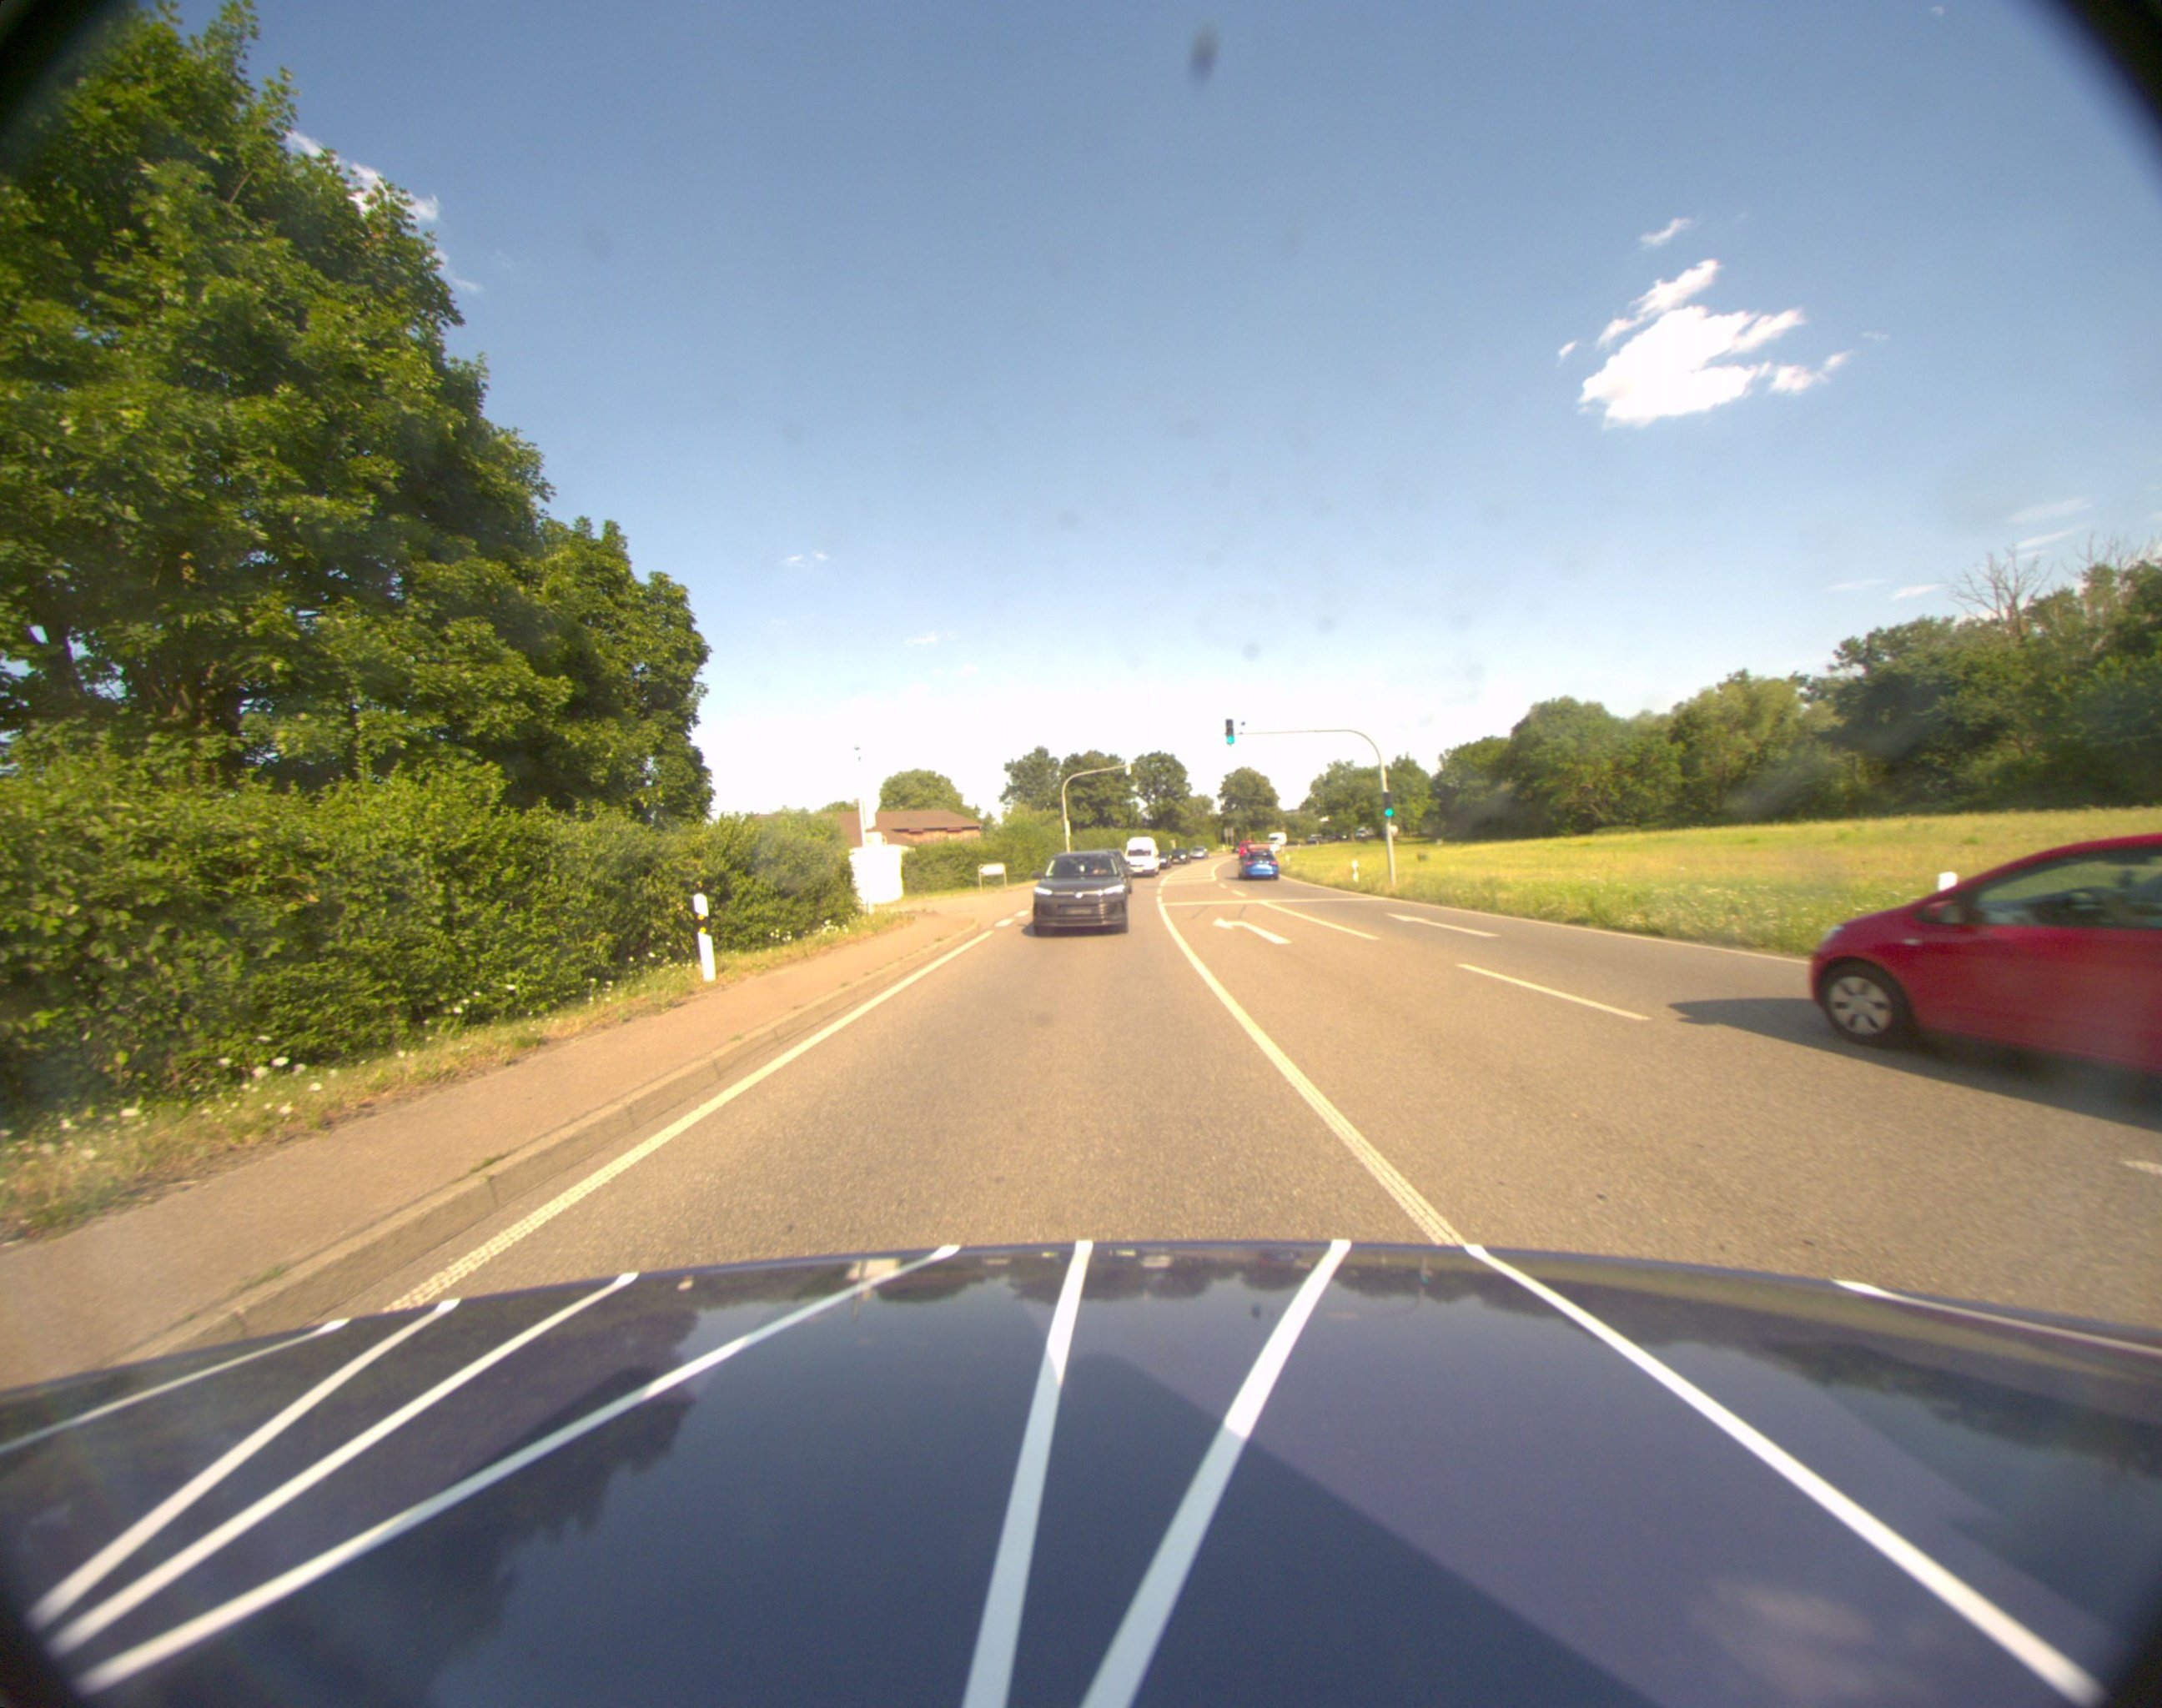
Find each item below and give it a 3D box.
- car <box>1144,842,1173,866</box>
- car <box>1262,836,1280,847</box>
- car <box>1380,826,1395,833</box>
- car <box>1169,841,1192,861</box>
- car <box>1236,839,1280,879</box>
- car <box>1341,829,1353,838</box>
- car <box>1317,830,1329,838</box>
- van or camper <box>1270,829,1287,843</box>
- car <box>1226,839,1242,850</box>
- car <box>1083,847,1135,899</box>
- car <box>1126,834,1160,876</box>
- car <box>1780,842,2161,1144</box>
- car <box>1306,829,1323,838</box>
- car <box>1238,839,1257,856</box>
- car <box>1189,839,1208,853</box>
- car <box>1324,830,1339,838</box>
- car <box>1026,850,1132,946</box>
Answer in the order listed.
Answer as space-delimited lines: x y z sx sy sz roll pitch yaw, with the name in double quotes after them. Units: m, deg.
6.014 0.001 58.585 1.692 1.718 3.671 -1 1 13 "car"
26.990 -1.775 107.773 1.882 1.577 4.336 -1 0 21 "car"
71.775 -5.731 178.082 1.928 1.577 4.081 0 2 43 "car"
9.179 -0.328 69.850 1.672 1.718 3.671 -2 2 12 "car"
8.980 0.244 38.784 1.728 1.871 4.338 -1 0 7 "car"
61.985 -4.752 177.041 1.405 2.002 3.240 -4 1 37 "car"
47.734 -3.982 150.018 1.747 1.458 3.484 -1 1 27 "car"
35.343 -3.239 135.925 2.031 2.461 5.084 -4 0 25 "van or camper"
22.323 -1.360 110.790 1.605 1.471 3.621 0 1 20 "car"
1.078 0.643 27.552 1.659 1.720 3.805 -1 0 5 "car"
3.712 0.011 45.688 1.844 2.338 4.789 -1 1 4 "car"
6.066 0.673 3.930 1.589 1.458 3.607 -1 0 0 "car"
48.448 -4.183 157.354 1.995 1.543 4.007 -5 0 37 "car"
17.710 -0.703 80.884 1.883 1.765 4.325 -1 0 12 "car"
13.340 -0.920 86.411 1.633 1.550 3.420 -1 2 16 "car"
55.648 -4.532 168.755 1.995 1.543 4.007 -5 0 35 "car"
0.094 0.794 15.820 1.865 1.633 4.001 -1 1 4 "car"
